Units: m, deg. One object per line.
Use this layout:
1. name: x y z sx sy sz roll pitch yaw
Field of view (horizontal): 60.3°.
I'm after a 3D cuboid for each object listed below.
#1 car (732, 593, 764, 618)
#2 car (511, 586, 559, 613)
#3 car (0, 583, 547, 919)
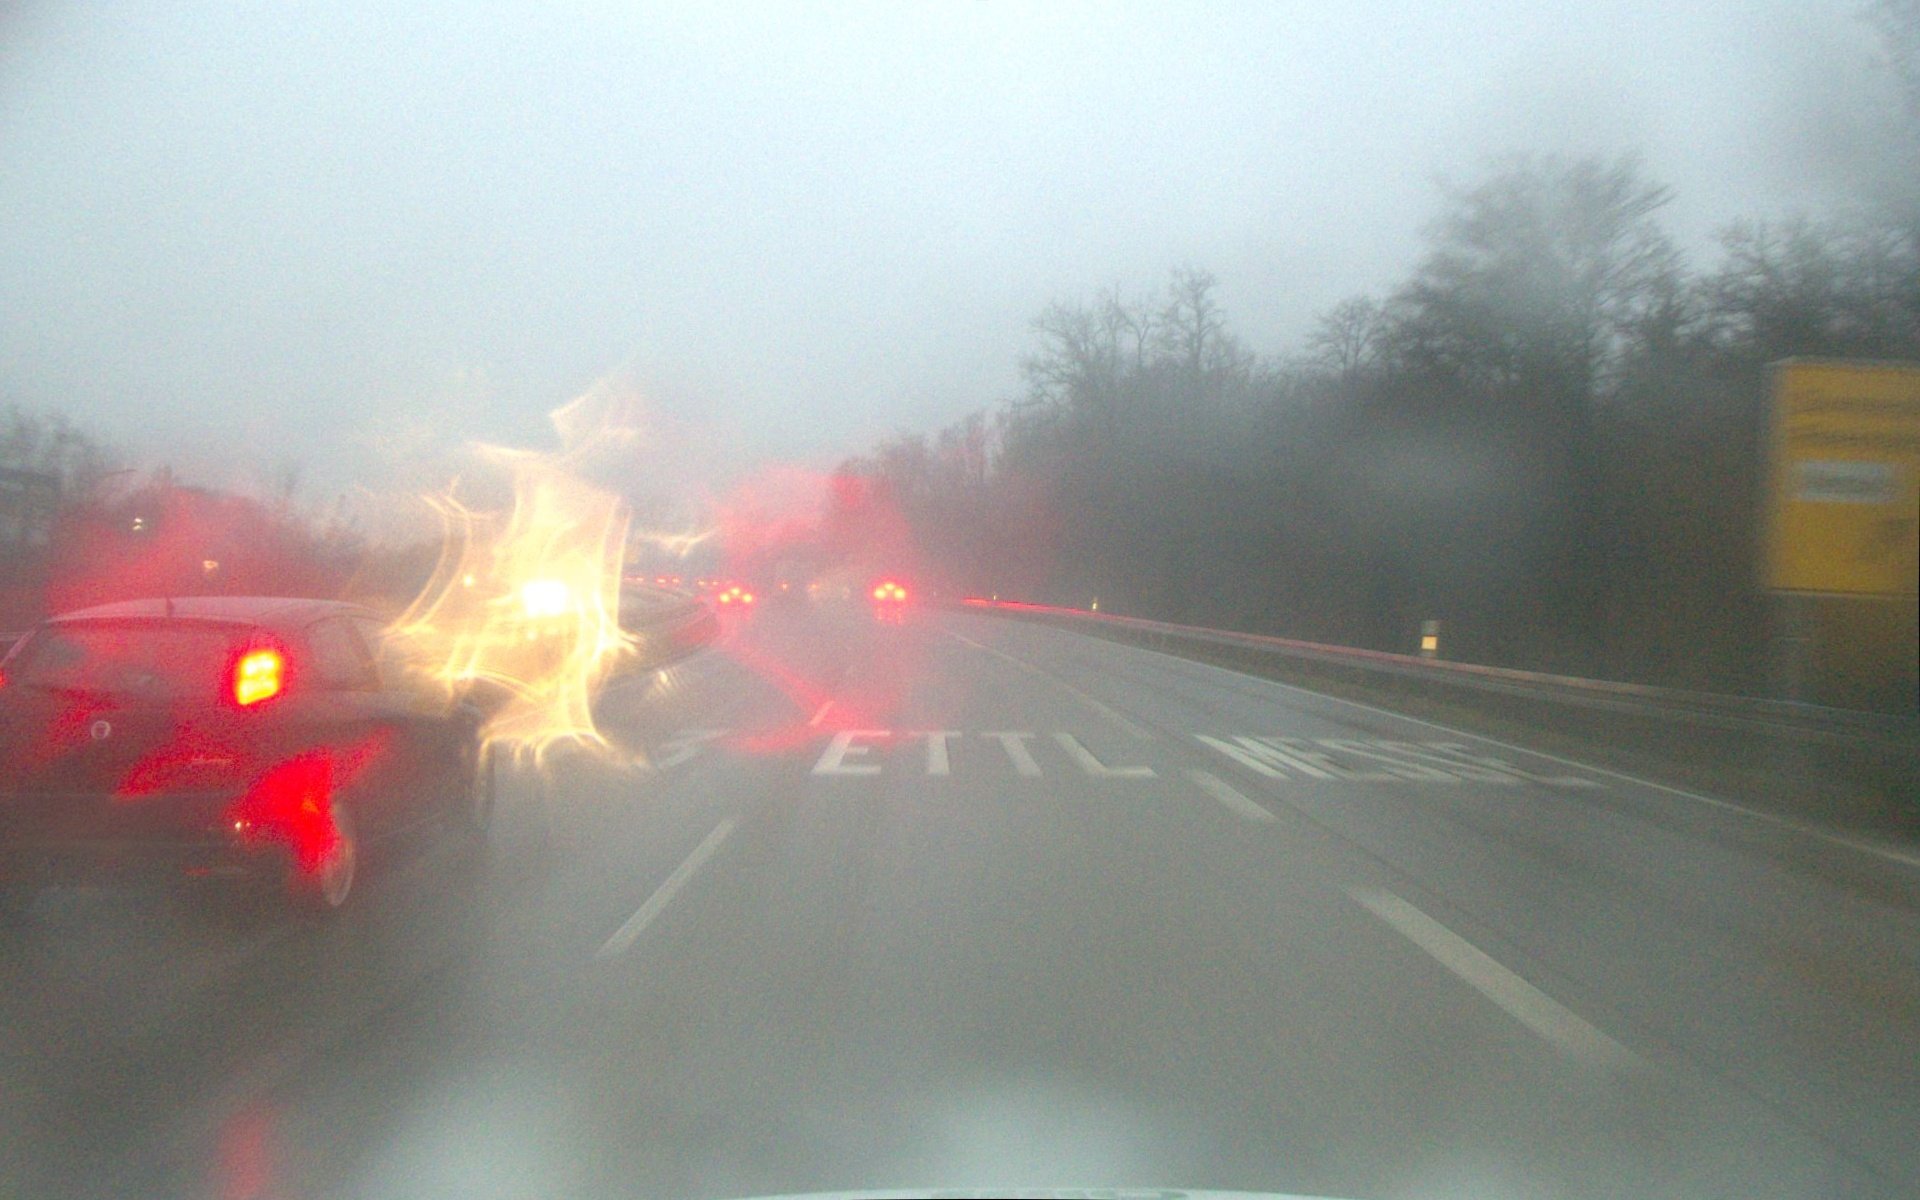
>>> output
1. car: -11.832 0.309 92.481 1.387 1.340 3.082 2 0 0
2. car: -27.063 -0.042 105.460 1.756 1.713 4.690 0 0 2
3. car: -3.569 0.687 9.241 1.593 1.416 3.998 2 -1 -2
